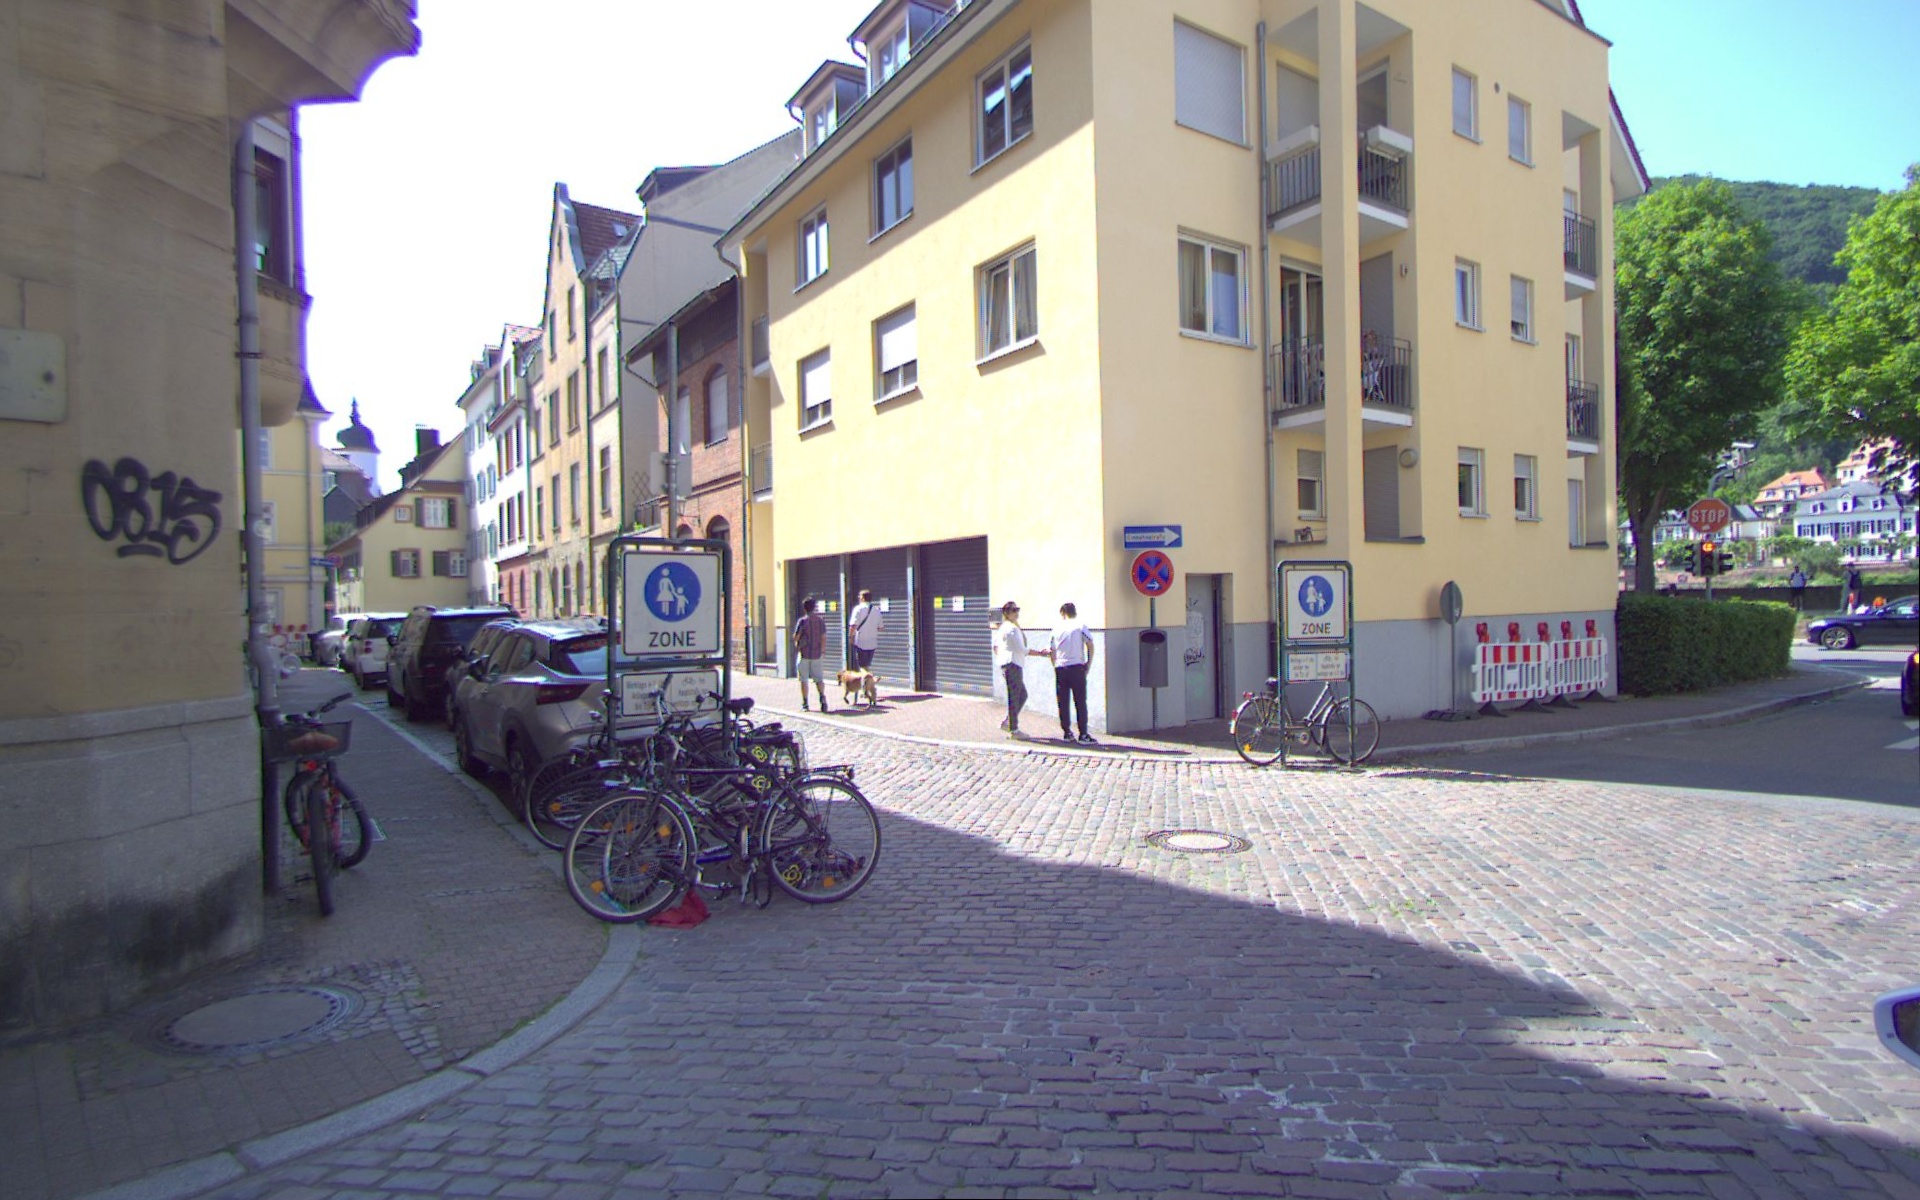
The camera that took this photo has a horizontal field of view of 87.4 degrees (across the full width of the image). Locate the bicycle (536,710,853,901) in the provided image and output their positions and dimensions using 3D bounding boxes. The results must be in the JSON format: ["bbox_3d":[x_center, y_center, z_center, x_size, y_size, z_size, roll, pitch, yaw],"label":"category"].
[{"bbox_3d":[-1.569,1.208,6.107,1.633,1.085,0.286,0,42,-47],"label":"bicycle"}]

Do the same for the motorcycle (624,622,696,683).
[{"bbox_3d":[-6.695,1.144,22.339,0.592,1.265,2.454,3,-2,-40],"label":"motorcycle"}]

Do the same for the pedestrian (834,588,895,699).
[{"bbox_3d":[-1.581,0.703,16.572,0.612,1.768,0.854,3,0,-33],"label":"pedestrian"}]

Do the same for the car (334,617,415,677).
[{"bbox_3d":[-16.206,1.235,27.707,1.646,1.462,4.031,1,0,-35],"label":"car"}]

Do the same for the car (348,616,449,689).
[{"bbox_3d":[-12.788,1.118,22.770,1.646,1.462,3.823,1,0,-35],"label":"car"}]

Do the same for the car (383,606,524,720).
[{"bbox_3d":[-8.522,0.939,16.737,1.553,1.657,3.822,1,0,-35],"label":"car"}]

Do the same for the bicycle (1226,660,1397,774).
[{"bbox_3d":[3.794,1.236,10.814,1.880,1.093,0.390,-1,0,-19],"label":"bicycle"}]

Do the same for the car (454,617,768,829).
[{"bbox_3d":[-3.537,0.975,9.710,1.834,1.564,3.889,-1,-1,-36],"label":"car"}]

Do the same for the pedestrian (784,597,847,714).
[{"bbox_3d":[-2.288,0.861,15.812,0.612,1.768,0.854,3,0,-33],"label":"pedestrian"}]

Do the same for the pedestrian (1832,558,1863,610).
[{"bbox_3d":[32.847,-0.584,37.189,0.752,1.882,0.754,0,0,35],"label":"pedestrian"}]

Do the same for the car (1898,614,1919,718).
[{"bbox_3d":[16.121,0.910,15.470,4.682,1.481,1.701,-1,-2,-38],"label":"car"}]

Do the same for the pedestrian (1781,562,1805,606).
[{"bbox_3d":[33.511,-0.642,40.420,0.700,1.755,0.752,0,0,42],"label":"pedestrian"}]

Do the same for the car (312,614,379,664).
[{"bbox_3d":[-19.860,1.219,32.402,1.646,1.462,3.823,1,0,-35],"label":"car"}]

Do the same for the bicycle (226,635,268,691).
[{"bbox_3d":[-15.210,1.327,21.450,0.477,1.113,1.595,0,0,-26],"label":"bicycle"}]

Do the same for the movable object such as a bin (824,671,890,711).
[{"bbox_3d":[-1.642,1.430,15.896,1.226,0.571,0.298,-3,-3,43],"label":"movable object such as a bin"}]

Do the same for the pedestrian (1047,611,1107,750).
[{"bbox_3d":[1.417,0.949,12.129,0.644,1.639,0.493,0,0,17],"label":"pedestrian"}]

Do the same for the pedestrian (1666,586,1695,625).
[{"bbox_3d":[28.172,0.198,39.260,1.370,1.499,0.464,-1,0,-34],"label":"pedestrian"}]

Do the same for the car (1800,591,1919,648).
[{"bbox_3d":[26.737,0.529,28.033,1.889,1.537,4.728,1,-3,-38],"label":"car"}]

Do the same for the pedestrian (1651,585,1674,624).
[{"bbox_3d":[27.668,0.188,39.571,0.796,1.513,0.464,-1,0,-33],"label":"pedestrian"}]

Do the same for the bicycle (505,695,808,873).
[{"bbox_3d":[-1.911,1.147,6.460,1.633,1.085,0.286,0,42,-47],"label":"bicycle"}]

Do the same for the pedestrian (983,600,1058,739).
[{"bbox_3d":[0.754,0.835,12.366,0.741,1.639,0.691,-1,0,16],"label":"pedestrian"}]

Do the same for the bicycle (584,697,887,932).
[{"bbox_3d":[-1.217,1.144,5.573,1.618,1.100,0.284,-1,3,-22],"label":"bicycle"}]

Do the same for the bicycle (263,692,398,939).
[{"bbox_3d":[-3.561,1.107,5.632,0.491,1.100,1.626,4,-4,-35],"label":"bicycle"}]

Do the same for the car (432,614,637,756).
[{"bbox_3d":[-5.881,0.996,13.611,1.834,1.565,3.962,1,0,-34],"label":"car"}]

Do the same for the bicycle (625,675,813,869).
[{"bbox_3d":[-1.706,1.187,7.369,0.280,1.100,1.640,-3,1,27],"label":"bicycle"}]

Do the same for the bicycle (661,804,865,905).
[{"bbox_3d":[-1.285,1.581,6.387,1.107,0.291,1.073,-1,-1,-21],"label":"bicycle"}]
